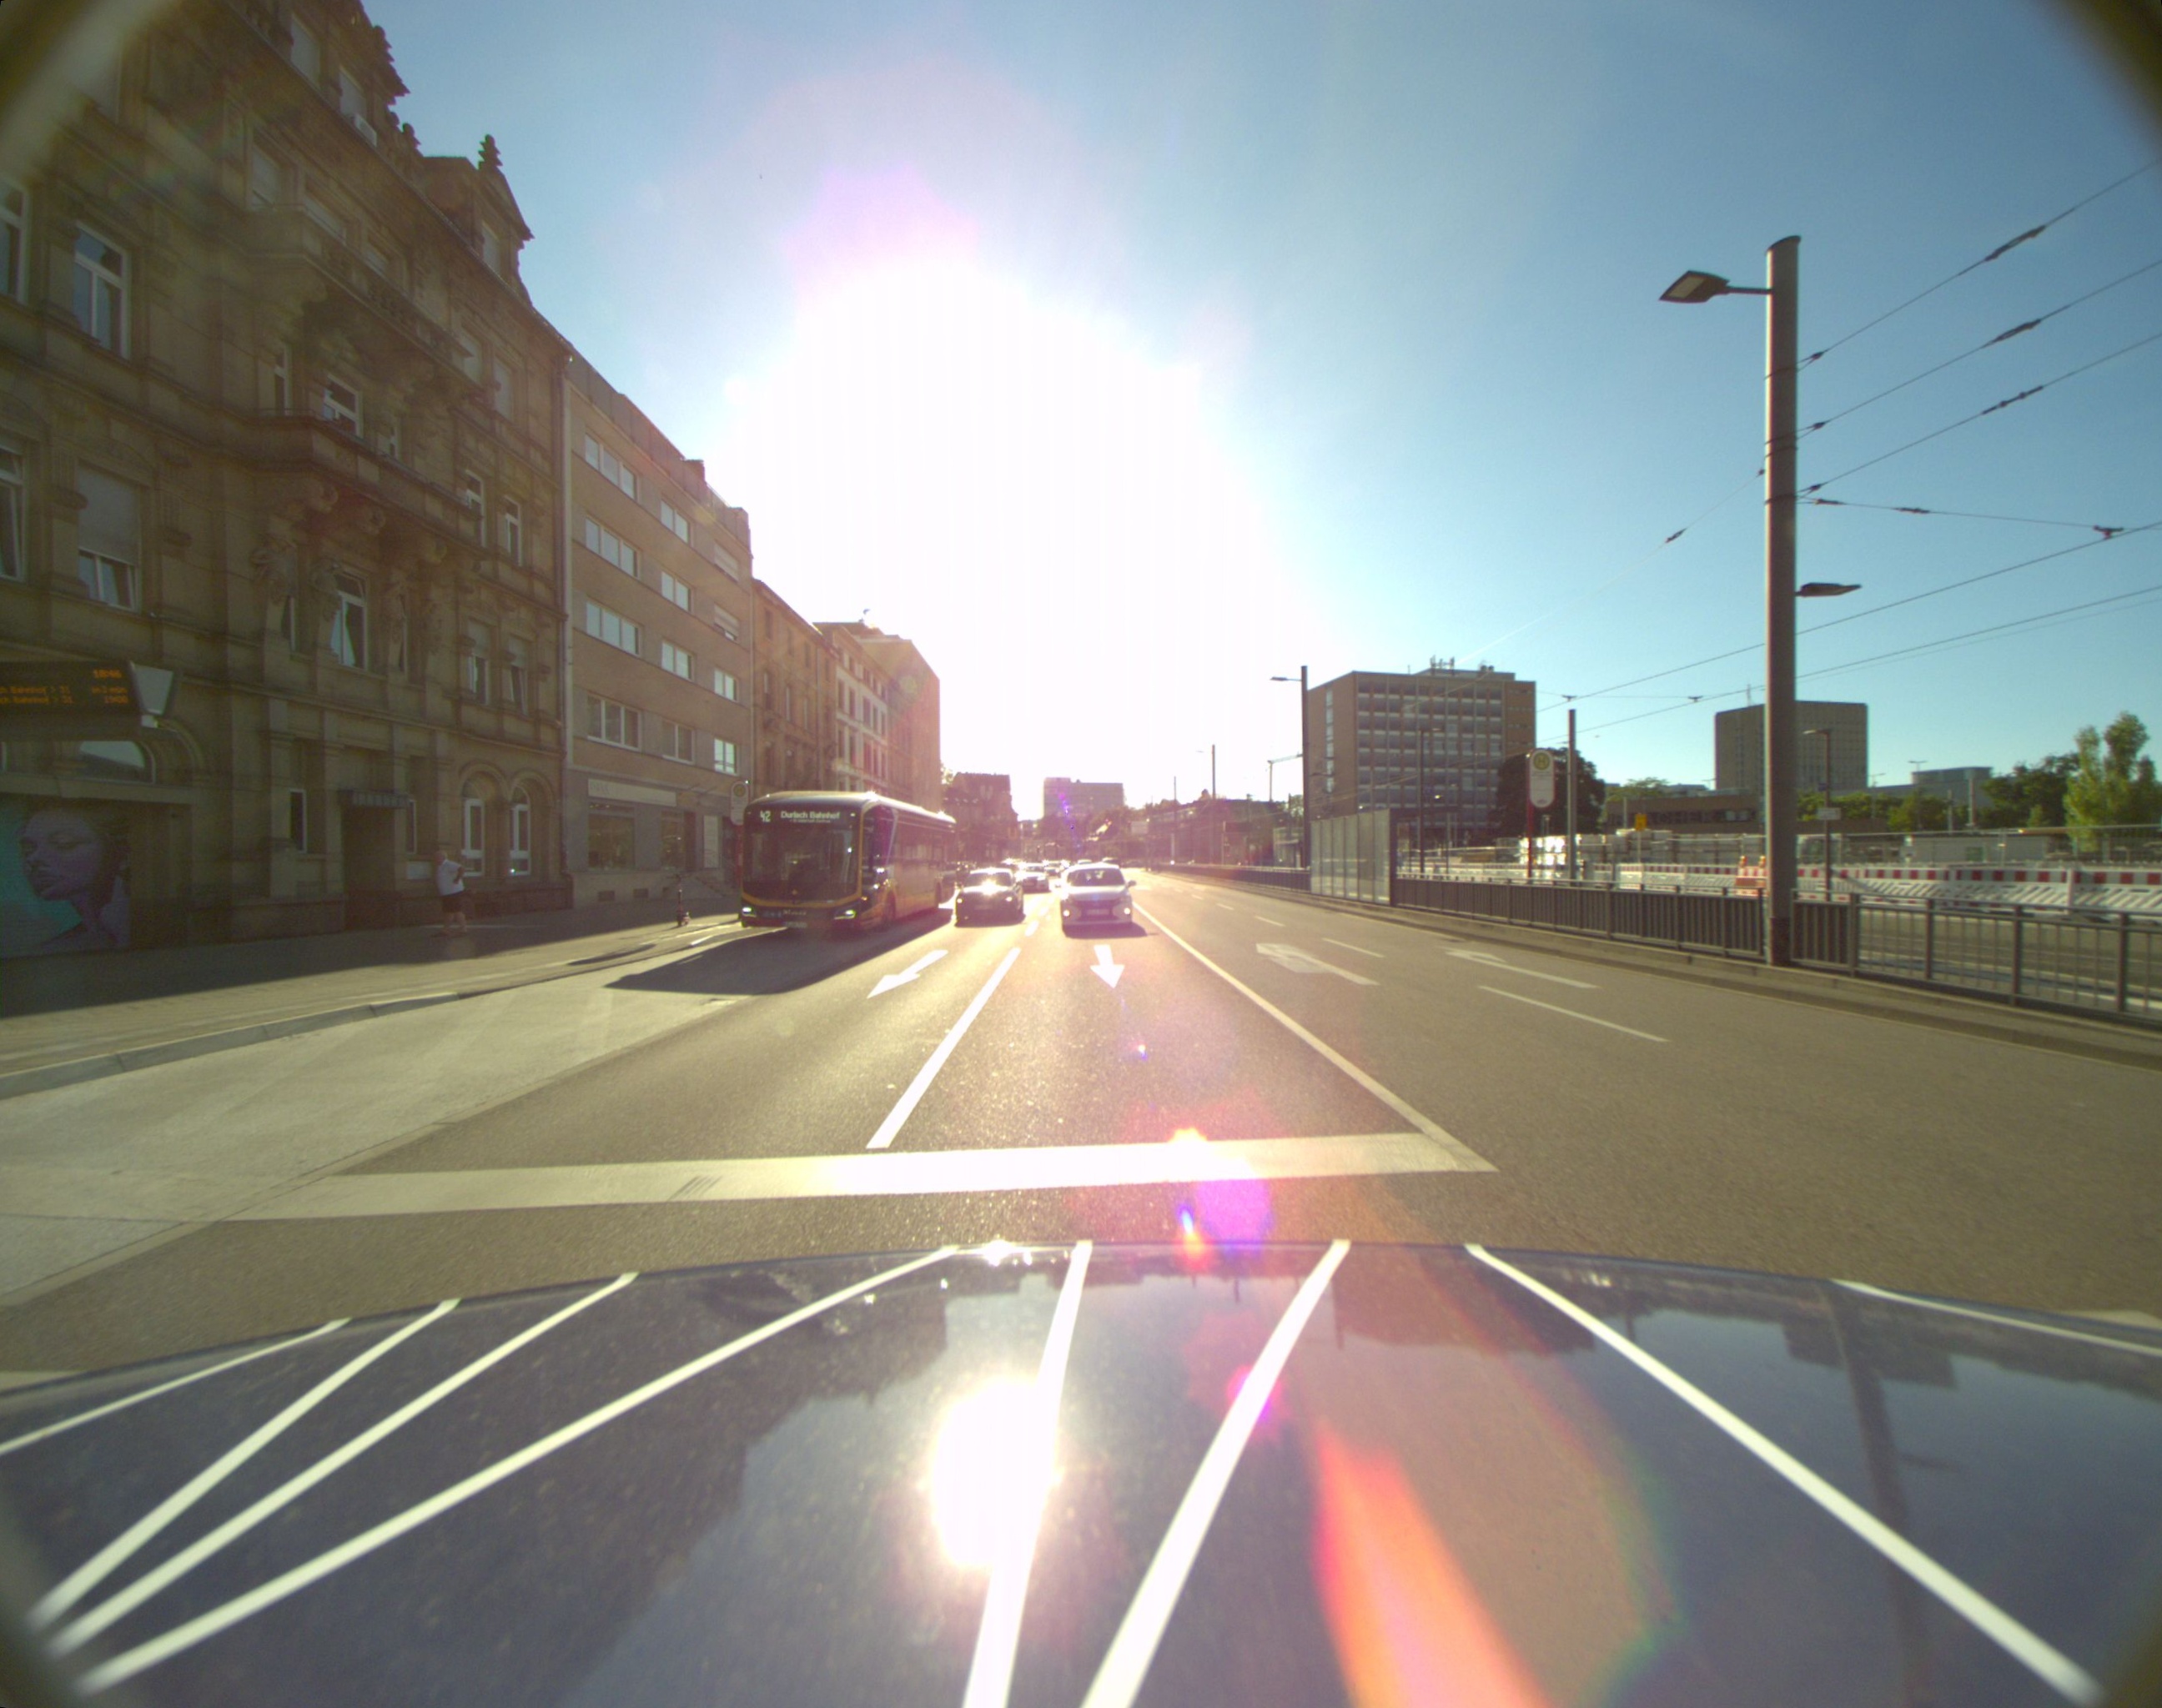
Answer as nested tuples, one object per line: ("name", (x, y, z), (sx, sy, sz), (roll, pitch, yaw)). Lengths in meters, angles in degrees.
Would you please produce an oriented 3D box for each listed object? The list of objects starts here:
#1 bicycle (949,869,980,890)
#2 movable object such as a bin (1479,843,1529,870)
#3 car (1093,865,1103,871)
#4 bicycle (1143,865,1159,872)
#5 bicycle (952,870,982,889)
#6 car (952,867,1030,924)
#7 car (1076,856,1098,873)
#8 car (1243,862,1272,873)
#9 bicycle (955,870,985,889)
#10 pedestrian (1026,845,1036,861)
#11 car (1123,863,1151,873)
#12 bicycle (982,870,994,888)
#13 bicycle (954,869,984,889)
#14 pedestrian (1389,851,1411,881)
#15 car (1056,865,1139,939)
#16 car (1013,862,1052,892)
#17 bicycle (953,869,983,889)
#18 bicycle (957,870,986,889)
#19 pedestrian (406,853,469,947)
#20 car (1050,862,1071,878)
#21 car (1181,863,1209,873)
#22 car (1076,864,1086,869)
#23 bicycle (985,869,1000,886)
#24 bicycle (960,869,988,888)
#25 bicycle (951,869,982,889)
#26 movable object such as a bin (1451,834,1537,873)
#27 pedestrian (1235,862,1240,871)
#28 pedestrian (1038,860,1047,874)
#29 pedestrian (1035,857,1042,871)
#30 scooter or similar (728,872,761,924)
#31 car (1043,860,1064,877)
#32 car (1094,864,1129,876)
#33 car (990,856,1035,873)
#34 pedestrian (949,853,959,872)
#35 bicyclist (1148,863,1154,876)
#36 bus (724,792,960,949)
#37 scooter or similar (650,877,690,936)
("bicycle", (-6.966, 1.531, 45.617), (1.769, 1.180, 0.470), (-1, -1, 0))
("movable object such as a bin", (28.440, 0.194, 51.197), (1.176, 1.577, 3.867), (1, -3, -1))
("car", (4.475, 3.584, 199.816), (1.757, 1.455, 4.016), (-1, -2, -13))
("bicycle", (8.713, 1.802, 94.218), (1.894, 0.936, 0.815), (1, 0, -5))
("bicycle", (-6.985, 1.563, 46.614), (1.796, 1.180, 0.470), (-1, -1, 0))
("car", (-2.536, 1.142, 22.232), (1.694, 1.380, 3.832), (-2, 0, 2))
("car", (0.583, 1.058, 75.519), (1.999, 1.666, 4.283), (0, 0, -1))
("car", (29.834, 2.273, 128.716), (4.698, 1.673, 2.003), (0, -3, 15))
("bicycle", (-7.021, 1.592, 48.114), (1.769, 1.180, 0.470), (-1, -1, 0))
("pedestrian", (-5.649, -0.085, 85.927), (0.755, 1.855, 0.696), (0, 0, -42))
("car", (10.190, 2.559, 138.644), (4.697, 1.673, 2.004), (0, -3, 18))
("bicycle", (-5.894, 1.570, 48.188), (0.470, 1.140, 1.771), (-1, -1, 0))
("bicycle", (-7.021, 1.577, 47.611), (1.769, 1.180, 0.470), (-1, -1, 0))
("pedestrian", (18.922, 0.719, 45.076), (0.804, 1.757, 1.180), (1, -3, 0))
("car", (0.497, 1.085, 18.593), (1.720, 1.484, 3.872), (-2, 0, 5))
("car", (-2.498, 1.140, 39.376), (1.826, 1.380, 4.456), (-2, 0, -3))
("bicycle", (-7.004, 1.548, 47.105), (1.769, 1.180, 0.470), (-1, -1, 0))
("bicycle", (-7.026, 1.604, 48.634), (1.769, 1.180, 0.470), (-1, -1, 0))
("pedestrian", (-12.944, 0.915, 15.321), (0.856, 1.821, 0.778), (3, -3, -37))
("car", (-2.318, 1.822, 87.087), (1.998, 1.673, 4.004), (0, -3, 4))
("car", (19.884, 2.393, 132.553), (4.698, 1.673, 2.003), (0, -3, 15))
("car", (0.003, 3.643, 218.310), (1.757, 1.455, 4.016), (-1, -2, -13))
("bicycle", (-5.947, 1.557, 50.880), (0.470, 1.140, 1.768), (-1, -1, -23))
("bicycle", (-7.037, 1.617, 50.139), (1.769, 1.171, 0.470), (-1, -1, 0))
("bicycle", (-6.948, 1.539, 46.112), (1.769, 1.180, 0.470), (-1, -1, 0))
("movable object such as a bin", (30.390, 0.042, 56.135), (2.637, 2.509, 5.164), (1, -3, -18))
("pedestrian", (28.842, 2.280, 140.314), (0.620, 1.729, 0.667), (1, 2, 42))
("pedestrian", (-4.851, 1.616, 96.045), (0.796, 1.717, 0.868), (0, 0, -32))
("pedestrian", (-5.158, 1.186, 92.839), (0.698, 1.717, 0.752), (0, 0, -16))
("scooter or similar", (-8.568, 1.091, 19.373), (0.432, 1.242, 1.293), (1, 1, -9))
("car", (-2.476, 1.238, 68.123), (1.784, 1.455, 3.914), (0, 0, -3))
("car", (4.491, 2.406, 111.628), (4.624, 1.678, 1.996), (0, 0, -27))
("car", (-6.902, 1.025, 76.681), (4.260, 1.561, 1.955), (-1, -1, -44))
("pedestrian", (-12.640, 0.854, 75.471), (0.754, 1.855, 0.830), (0, 0, -30))
("bicyclist", (8.661, 1.957, 94.217), (0.676, 1.607, 0.815), (1, 0, -5))
("bus", (-5.843, 0.394, 21.655), (2.722, 3.162, 12.541), (1, -1, 0))
("scooter or similar", (-9.222, 1.157, 17.070), (0.433, 1.242, 1.293), (1, 1, -12))
